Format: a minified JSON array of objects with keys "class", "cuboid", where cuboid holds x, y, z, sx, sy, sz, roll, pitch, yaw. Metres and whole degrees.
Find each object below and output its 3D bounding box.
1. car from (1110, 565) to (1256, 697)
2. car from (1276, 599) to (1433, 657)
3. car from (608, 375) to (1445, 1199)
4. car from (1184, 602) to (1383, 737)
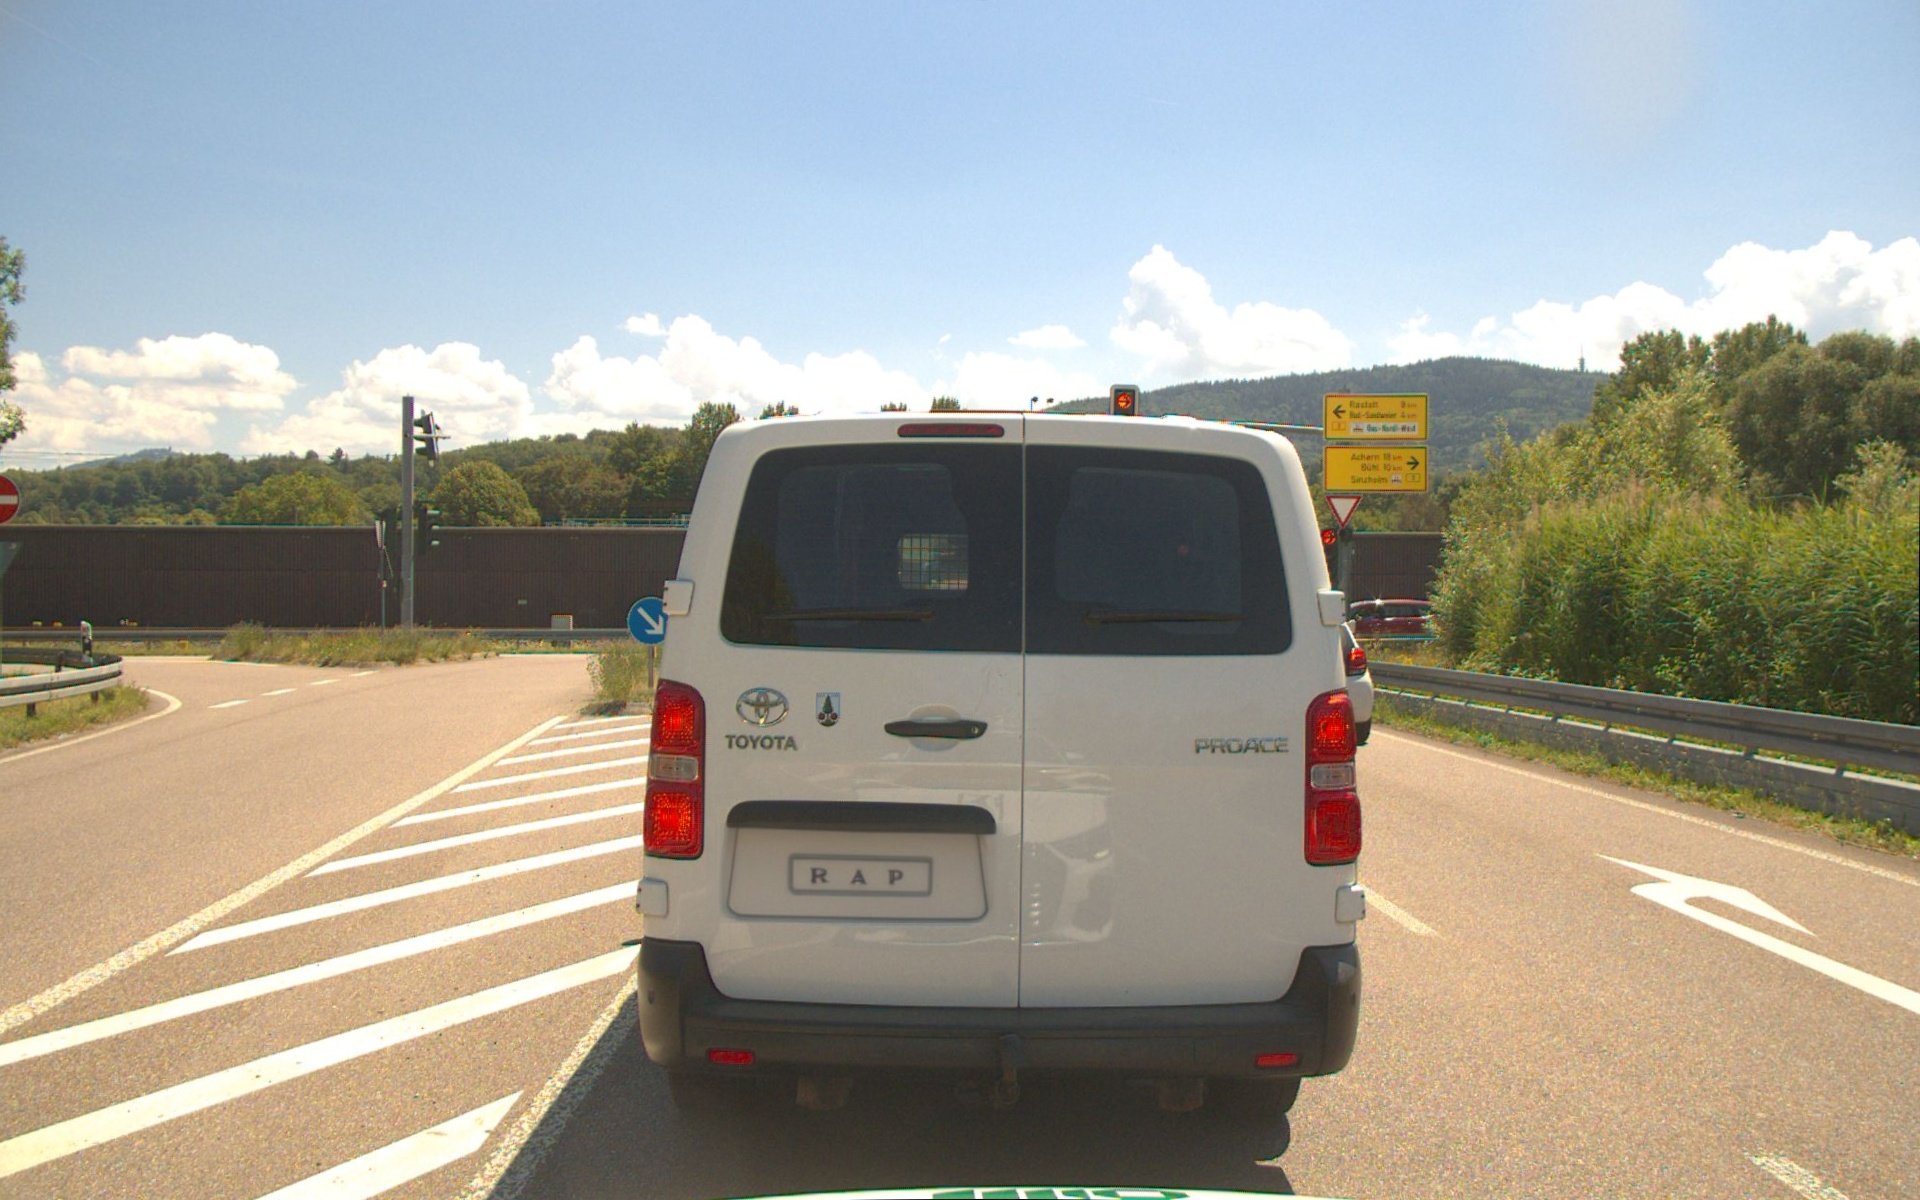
[{"class":"car","cuboid":[3.709,0.494,28.254,1.889,2.035,4.838,1,0,1]},{"class":"car","cuboid":[11.886,0.833,49.997,4.225,1.685,1.998,0,0,-4]},{"class":"car","cuboid":[0.112,0.480,5.693,1.848,1.919,3.999,1,0,-1]},{"class":"car","cuboid":[3.756,0.764,19.696,1.622,1.456,3.364,1,0,-2]}]
